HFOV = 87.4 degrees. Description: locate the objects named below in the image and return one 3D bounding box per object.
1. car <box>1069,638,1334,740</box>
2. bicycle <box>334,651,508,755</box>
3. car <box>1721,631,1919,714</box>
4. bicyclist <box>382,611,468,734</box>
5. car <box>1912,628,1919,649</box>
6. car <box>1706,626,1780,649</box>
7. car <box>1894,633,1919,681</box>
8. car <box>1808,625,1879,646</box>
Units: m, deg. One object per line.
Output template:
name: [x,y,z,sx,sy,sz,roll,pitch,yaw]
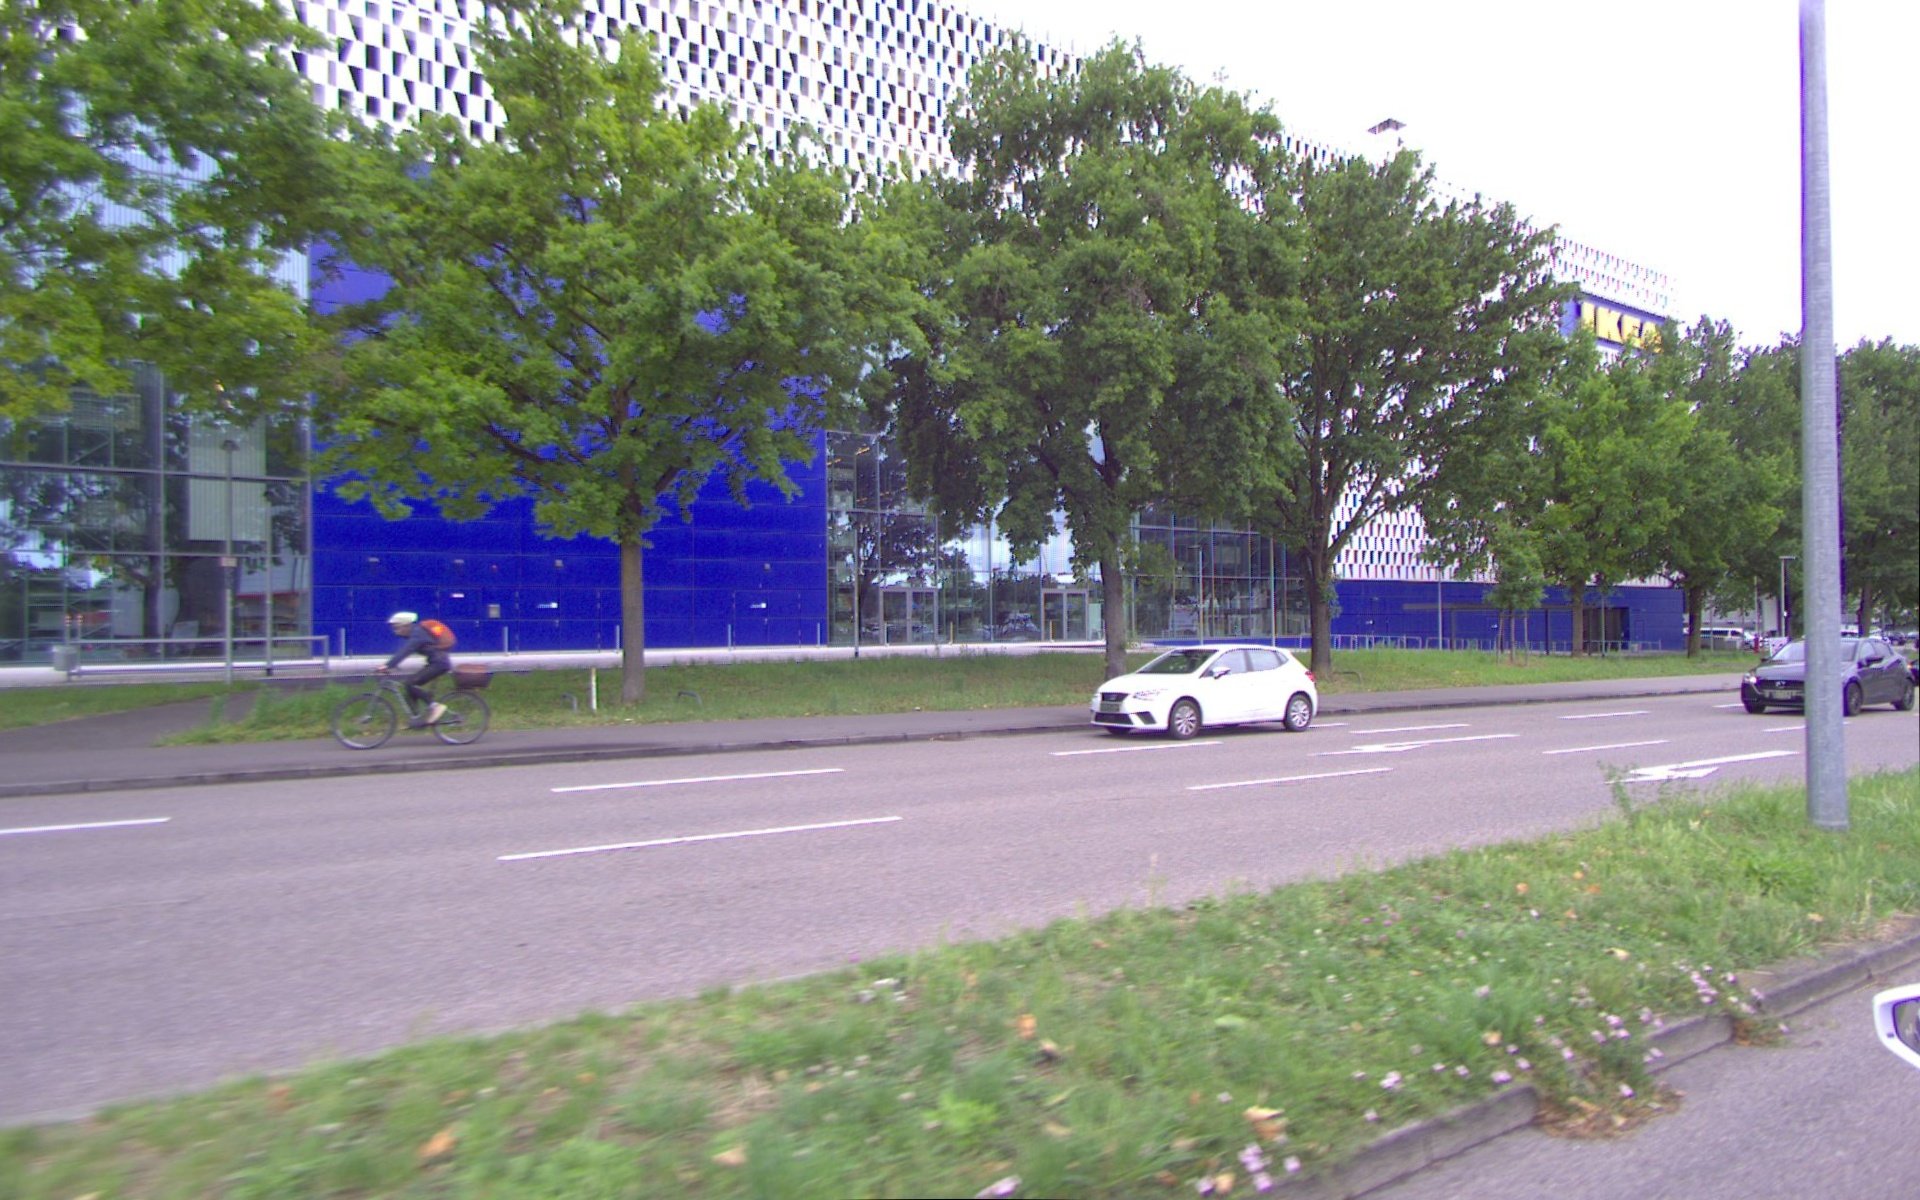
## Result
car: [3.996,1.396,16.488,4.121,1.473,1.857,2,-4,-31]
bicycle: [-7.273,1.354,13.615,2.032,1.267,0.639,1,0,-31]
car: [17.156,1.381,19.935,3.949,1.472,1.751,0,-3,-28]
bicyclist: [-7.242,0.952,13.598,0.988,1.598,0.637,1,0,-30]
car: [80.045,3.083,80.946,1.980,1.681,4.515,0,-2,-34]
car: [72.716,3.481,93.333,1.859,1.990,5.104,-3,1,-32]
car: [31.182,1.746,31.071,4.343,1.471,1.768,1,-3,-24]
car: [78.716,3.137,89.541,1.979,1.734,4.407,-4,1,-33]
